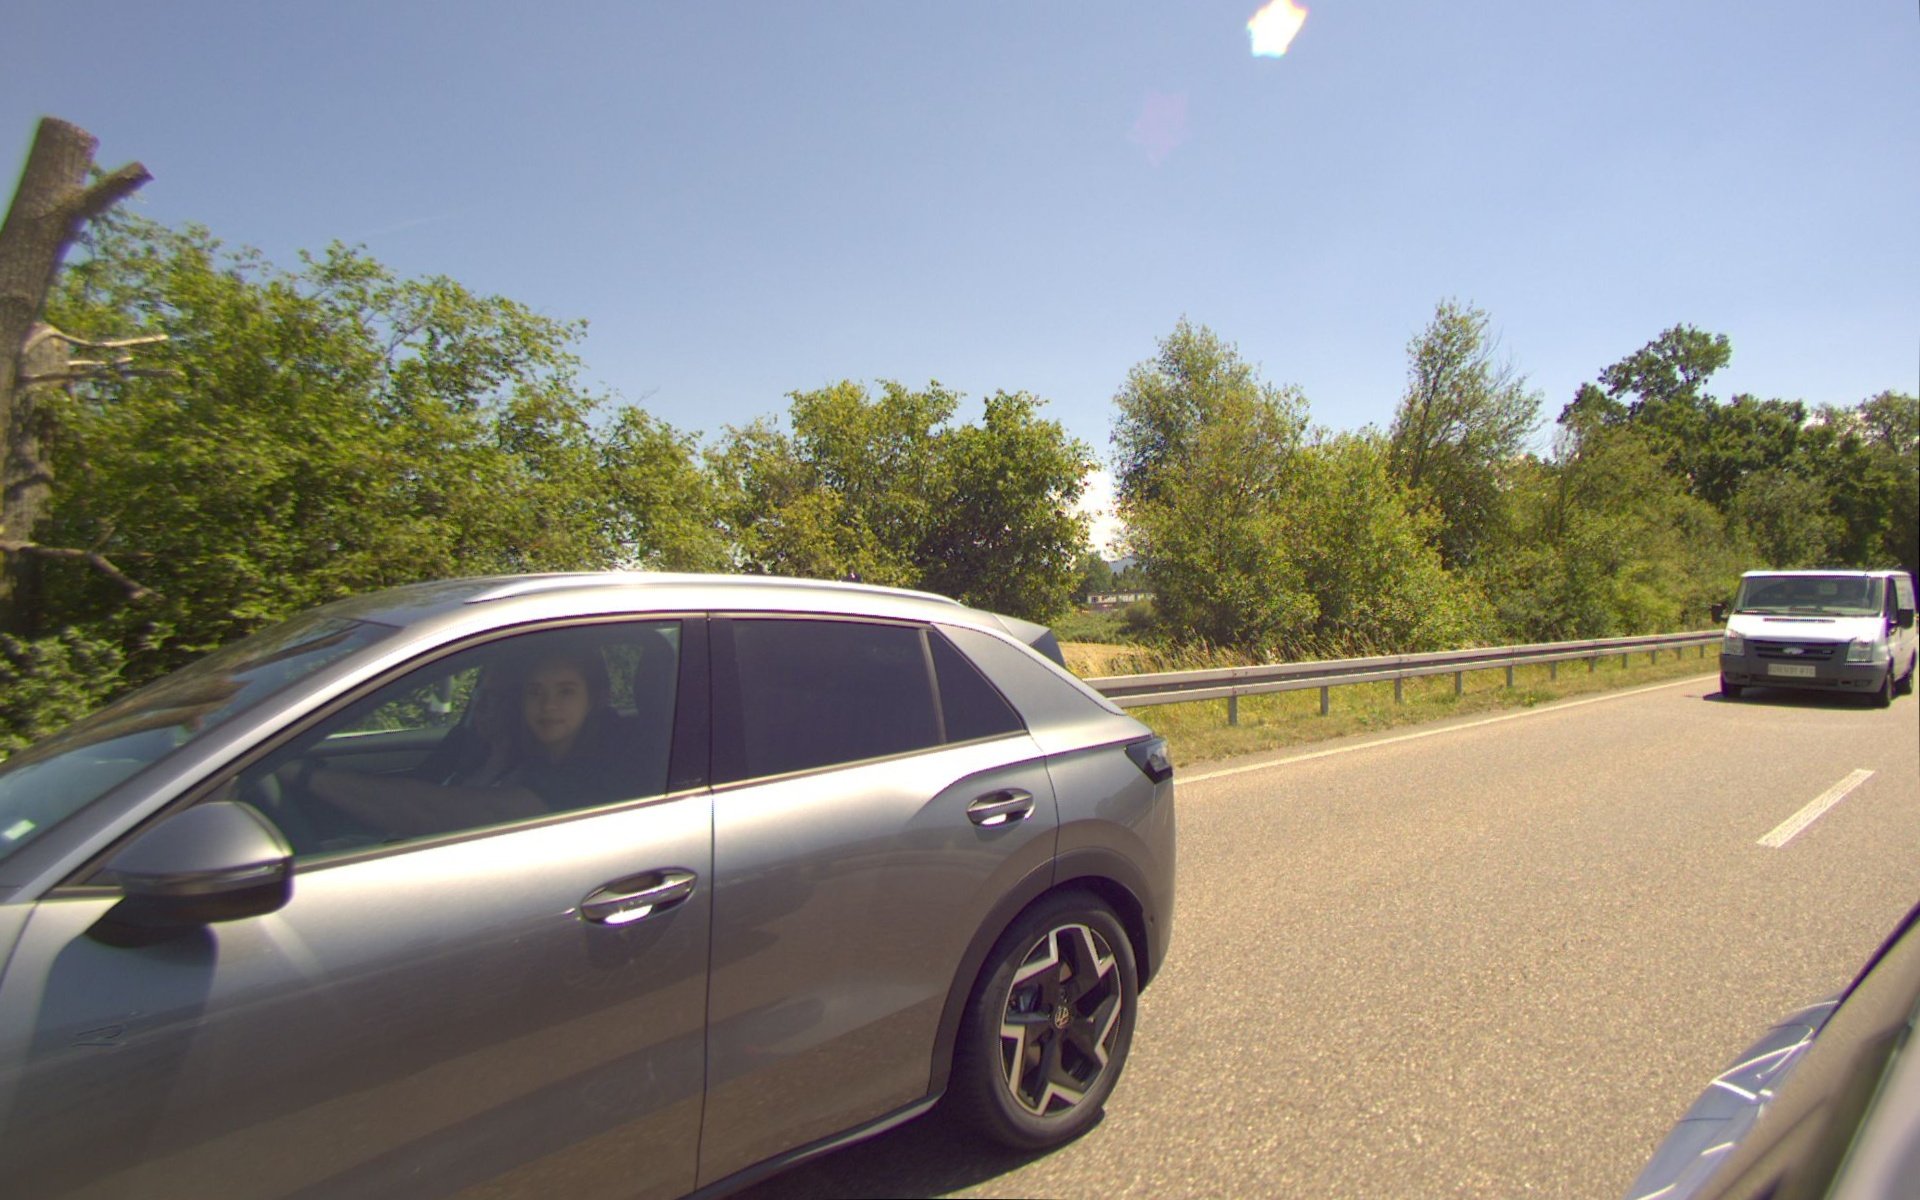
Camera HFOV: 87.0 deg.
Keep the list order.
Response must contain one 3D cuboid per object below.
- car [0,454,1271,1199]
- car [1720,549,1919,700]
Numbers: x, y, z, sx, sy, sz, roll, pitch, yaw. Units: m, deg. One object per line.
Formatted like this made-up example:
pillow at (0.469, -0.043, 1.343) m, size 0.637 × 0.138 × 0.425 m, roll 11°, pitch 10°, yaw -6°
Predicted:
car at (-1.065, 0.606, 2.568) m, size 3.950 × 1.573 × 1.787 m, roll 0°, pitch 0°, yaw -42°
car at (13.814, 0.357, 15.973) m, size 4.948 × 2.014 × 2.008 m, roll 1°, pitch -1°, yaw -42°
